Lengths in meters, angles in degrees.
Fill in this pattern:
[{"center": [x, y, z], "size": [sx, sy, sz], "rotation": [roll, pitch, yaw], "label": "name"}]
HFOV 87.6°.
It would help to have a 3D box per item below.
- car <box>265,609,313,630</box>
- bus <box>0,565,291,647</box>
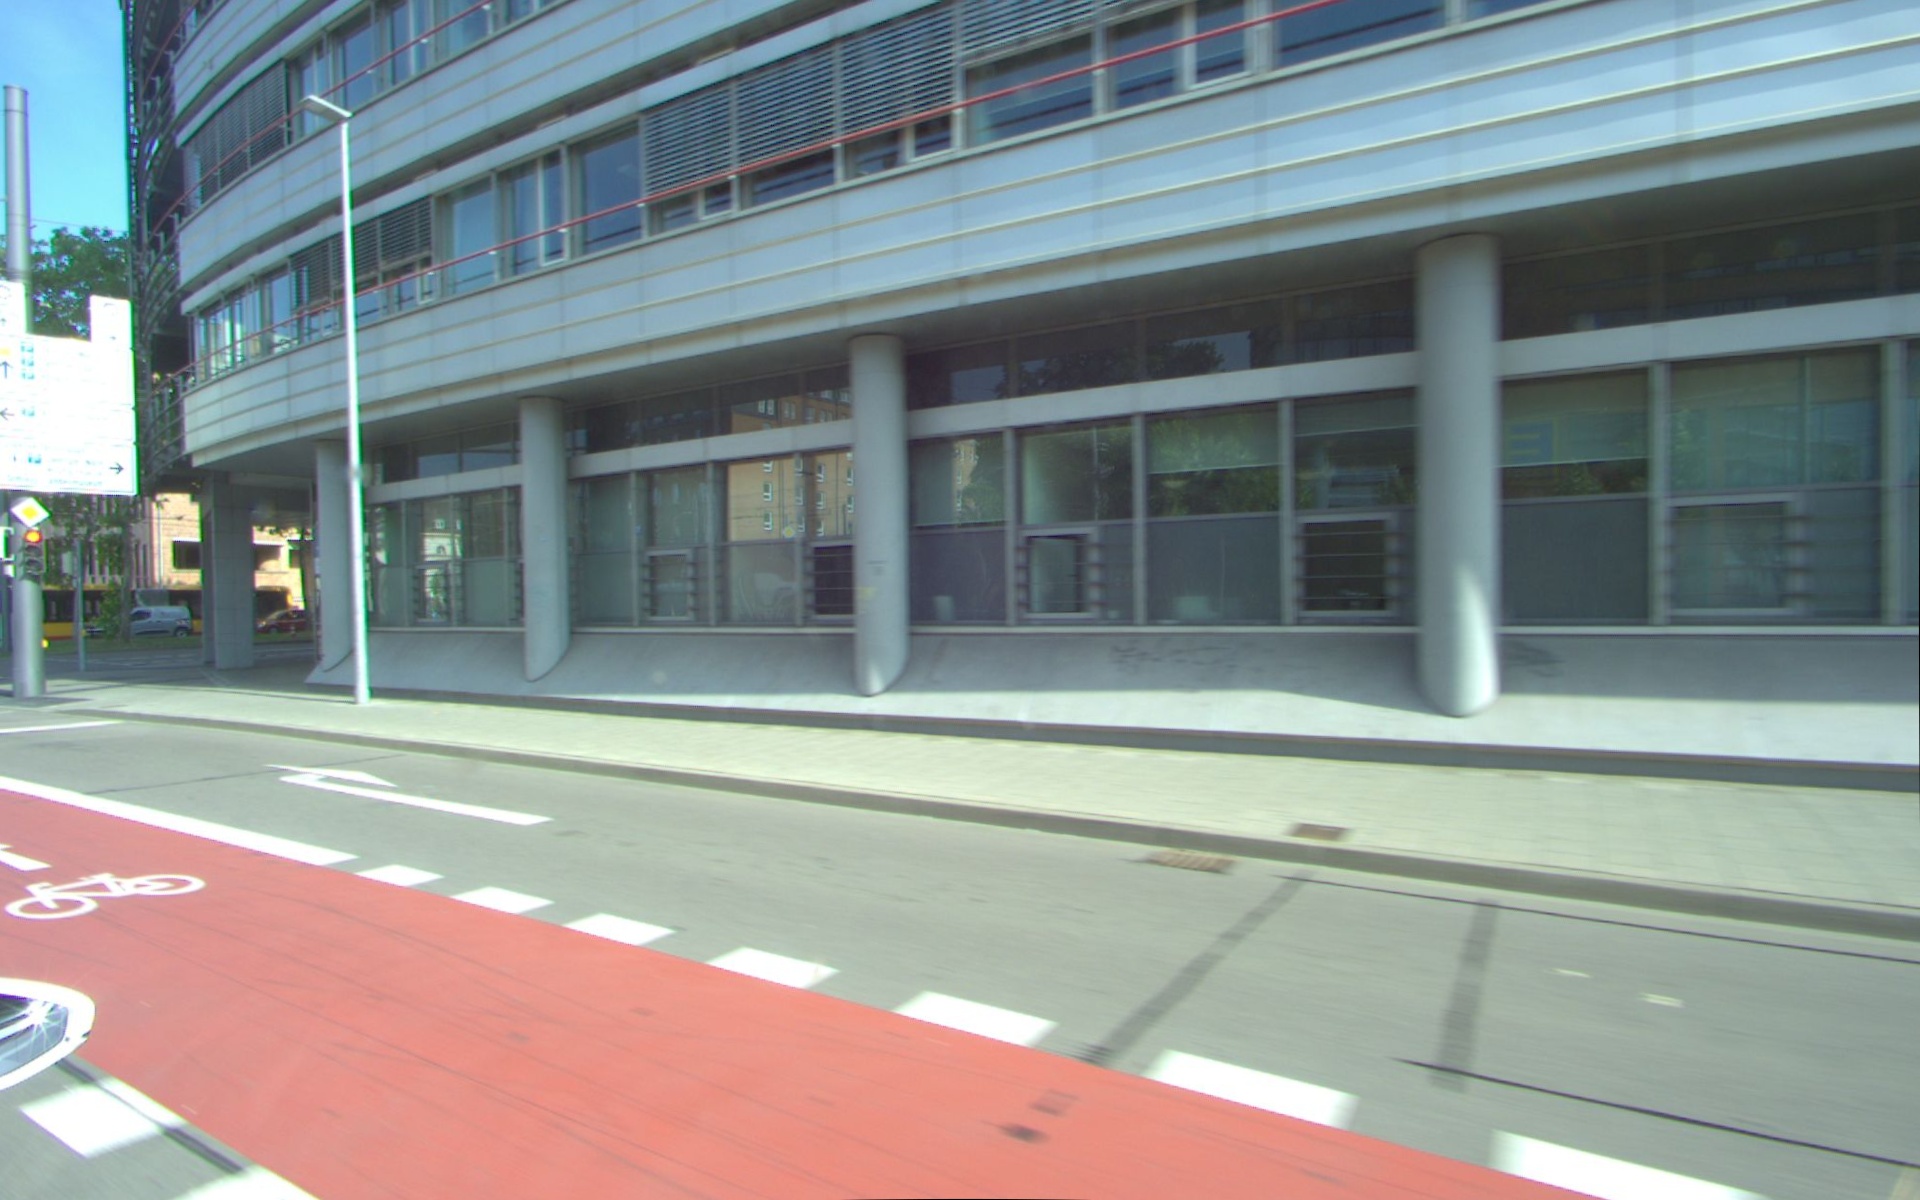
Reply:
[{"center": [-38.507, 1.131, 57.484], "size": [0.712, 1.126, 2.236], "rotation": [-2, -1, 28], "label": "car"}, {"center": [-44.941, 0.348, 52.682], "size": [2.817, 3.860, 17.622], "rotation": [-2, -1, 22], "label": "bus"}]
